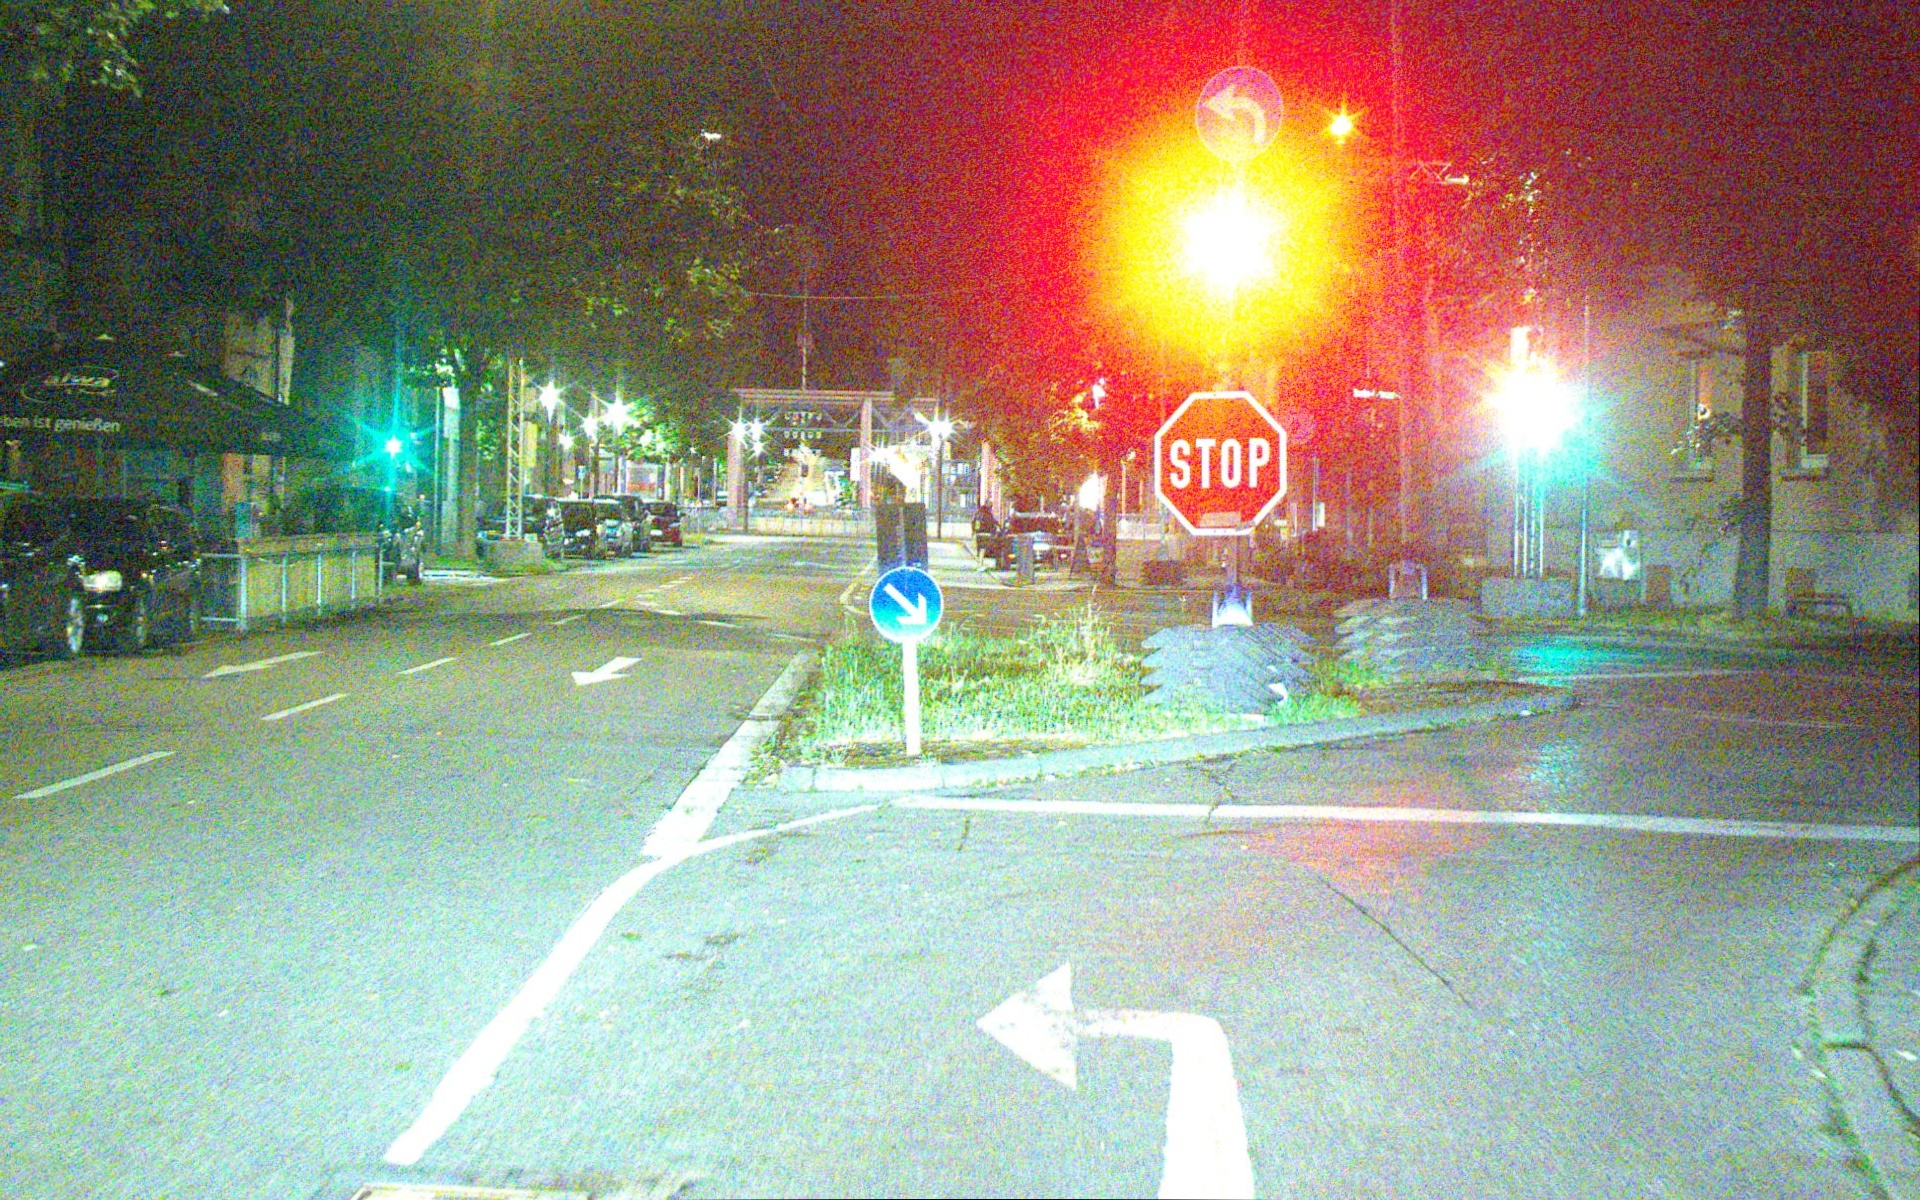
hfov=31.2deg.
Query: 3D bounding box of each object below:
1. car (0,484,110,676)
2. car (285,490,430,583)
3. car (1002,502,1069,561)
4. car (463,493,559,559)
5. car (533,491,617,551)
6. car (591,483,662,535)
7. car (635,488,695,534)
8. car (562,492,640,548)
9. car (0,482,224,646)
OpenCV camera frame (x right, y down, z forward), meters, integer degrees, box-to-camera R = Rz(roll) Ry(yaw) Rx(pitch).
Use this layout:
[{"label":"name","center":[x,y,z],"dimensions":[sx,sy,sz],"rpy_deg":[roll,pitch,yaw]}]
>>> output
[{"label":"car","center":[-8.535,-0.211,28.418],"dimensions":[1.899,1.466,4.452],"rpy_deg":[2,2,-1]},{"label":"car","center":[-9.532,-1.035,54.658],"dimensions":[1.651,1.426,4.001],"rpy_deg":[0,2,-1]},{"label":"car","center":[1.880,-1.737,86.660],"dimensions":[1.651,1.426,4.000],"rpy_deg":[0,2,1]},{"label":"car","center":[-9.885,-1.655,75.861],"dimensions":[1.651,1.426,4.001],"rpy_deg":[0,2,-1]},{"label":"car","center":[-9.392,-1.944,84.081],"dimensions":[1.651,1.426,4.001],"rpy_deg":[0,2,-1]},{"label":"car","center":[-9.392,-2.580,96.968],"dimensions":[1.651,1.426,4.001],"rpy_deg":[0,2,-1]},{"label":"car","center":[-9.473,-2.874,110.703],"dimensions":[1.651,1.426,4.001],"rpy_deg":[0,2,-1]},{"label":"car","center":[-9.386,-2.122,90.091],"dimensions":[1.651,1.426,4.001],"rpy_deg":[0,2,-1]},{"label":"car","center":[-8.474,-0.392,33.411],"dimensions":[1.803,1.476,4.324],"rpy_deg":[1,2,-1]}]
